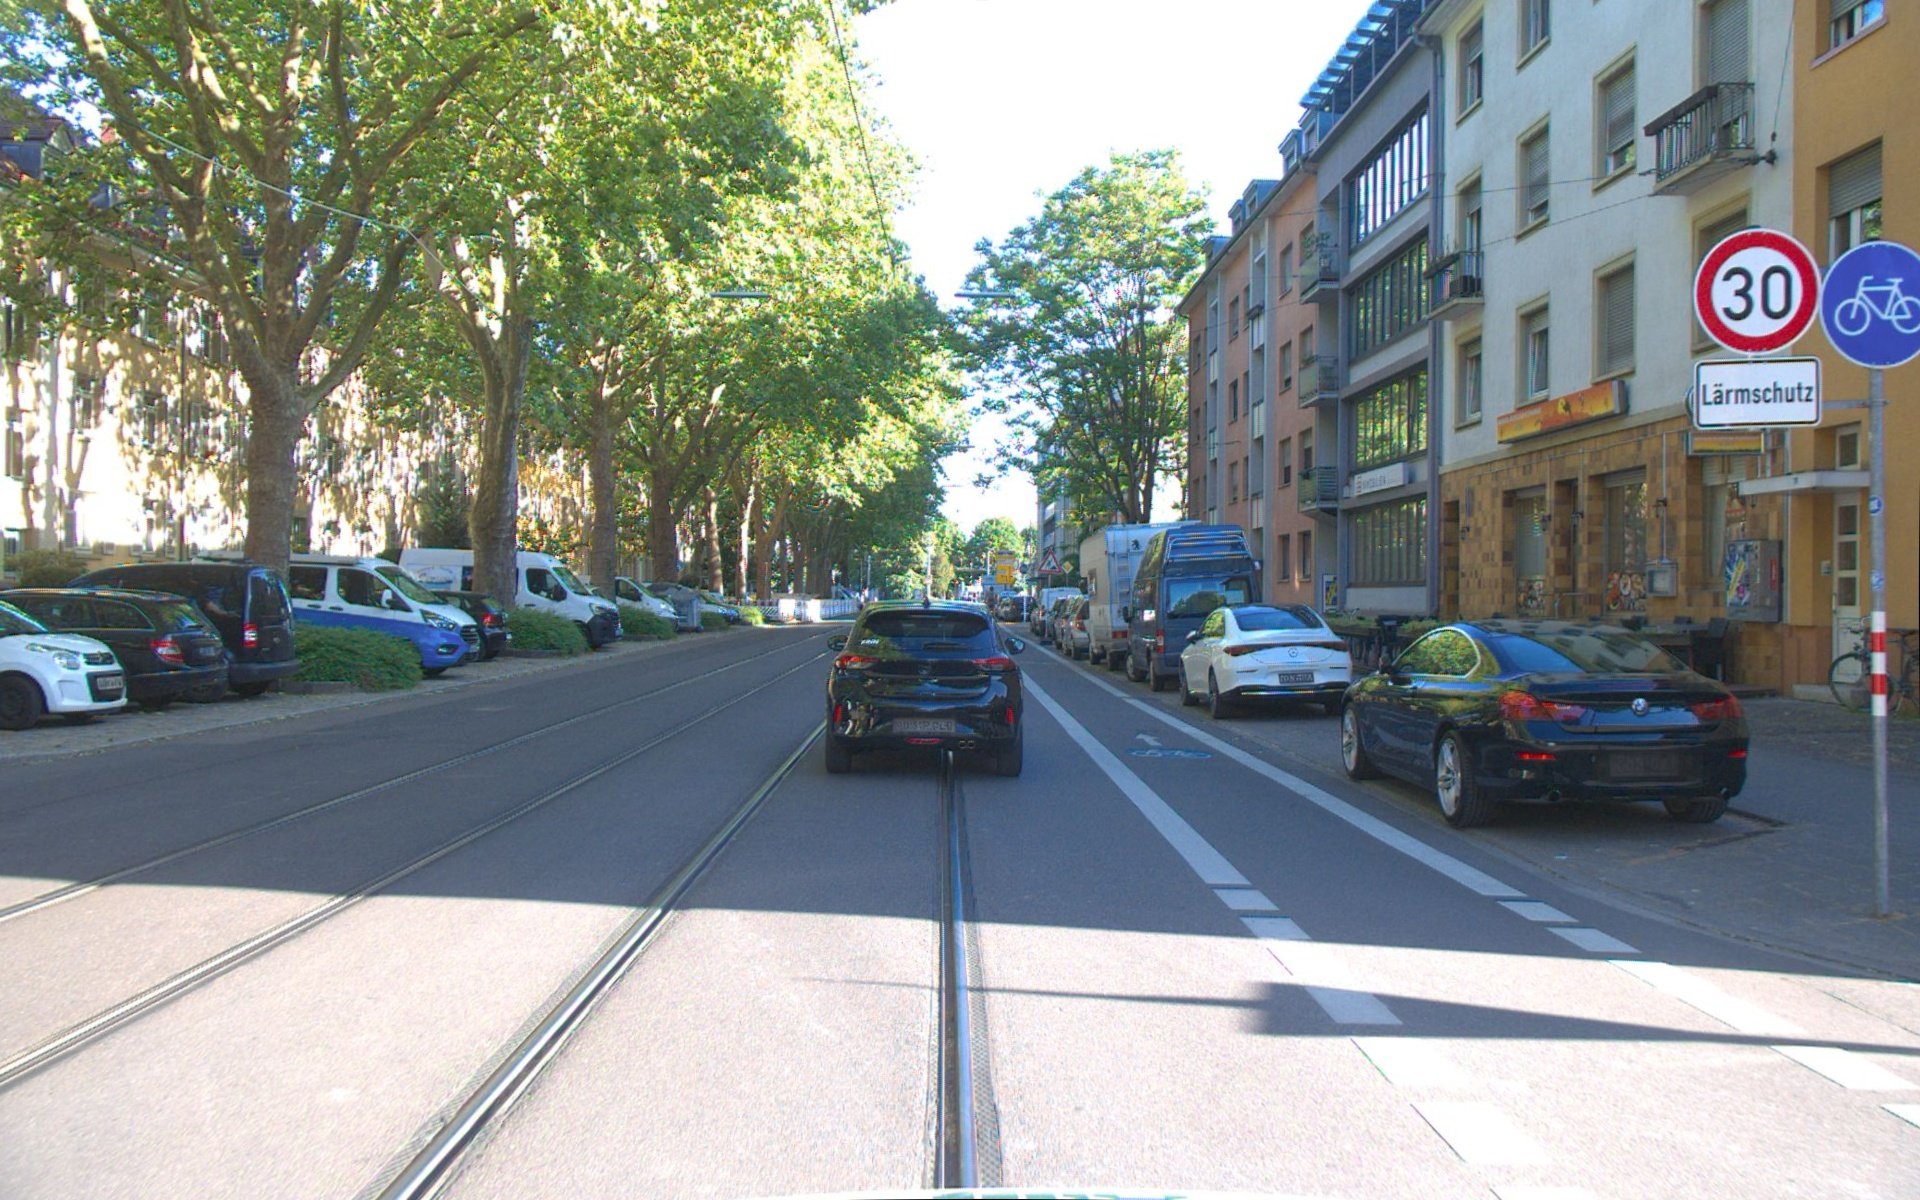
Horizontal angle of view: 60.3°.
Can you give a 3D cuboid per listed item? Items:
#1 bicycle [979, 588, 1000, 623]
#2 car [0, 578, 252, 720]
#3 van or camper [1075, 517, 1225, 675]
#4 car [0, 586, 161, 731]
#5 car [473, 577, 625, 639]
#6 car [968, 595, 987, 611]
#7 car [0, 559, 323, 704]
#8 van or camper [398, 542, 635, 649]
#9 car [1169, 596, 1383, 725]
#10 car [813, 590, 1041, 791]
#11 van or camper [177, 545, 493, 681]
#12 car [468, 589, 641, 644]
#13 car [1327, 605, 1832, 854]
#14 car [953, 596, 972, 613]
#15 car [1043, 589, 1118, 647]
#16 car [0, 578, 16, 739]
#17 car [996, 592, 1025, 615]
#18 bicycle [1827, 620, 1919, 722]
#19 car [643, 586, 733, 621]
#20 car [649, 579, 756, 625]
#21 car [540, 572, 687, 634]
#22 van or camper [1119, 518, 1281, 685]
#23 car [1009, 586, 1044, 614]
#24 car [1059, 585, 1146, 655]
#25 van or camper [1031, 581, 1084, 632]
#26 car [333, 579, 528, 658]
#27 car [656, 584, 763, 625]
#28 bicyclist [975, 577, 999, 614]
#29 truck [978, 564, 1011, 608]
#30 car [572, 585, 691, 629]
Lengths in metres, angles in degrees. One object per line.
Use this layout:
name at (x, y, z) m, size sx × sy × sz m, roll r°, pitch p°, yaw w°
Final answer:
bicycle at (1.345, 0.241, 76.982) m, size 0.897 × 1.588 × 3.405 m, roll 1°, pitch 0°, yaw 0°
car at (-10.887, 0.569, 20.311) m, size 3.611 × 1.652 × 1.797 m, roll 1°, pitch 0°, yaw -6°
van or camper at (4.066, -0.116, 36.570) m, size 2.412 × 3.117 × 6.267 m, roll -2°, pitch 0°, yaw -1°
car at (-10.992, 0.608, 18.165) m, size 3.612 × 1.511 × 1.699 m, roll 1°, pitch 0°, yaw -7°
car at (-11.481, 0.213, 46.374) m, size 3.768 × 1.692 × 1.862 m, roll 0°, pitch 0°, yaw 0°
car at (1.985, 0.309, 188.686) m, size 1.953 × 1.725 × 4.739 m, roll -2°, pitch 0°, yaw -1°
car at (-10.832, 0.406, 22.535) m, size 3.607 × 1.846 × 1.704 m, roll 1°, pitch 0°, yaw -1°
van or camper at (-11.160, -0.111, 41.921) m, size 5.278 × 2.560 × 2.445 m, roll 1°, pitch 0°, yaw 1°
car at (4.241, 0.741, 22.990) m, size 1.953 × 1.519 × 4.739 m, roll -2°, pitch 0°, yaw -1°
car at (-0.283, 0.692, 14.823) m, size 1.745 × 1.522 × 3.999 m, roll 1°, pitch 0°, yaw -1°
van or camper at (-10.835, 0.214, 28.970) m, size 4.725 × 2.228 × 2.117 m, roll 1°, pitch 0°, yaw -5°
car at (-10.801, 0.435, 44.277) m, size 4.177 × 1.423 × 1.753 m, roll 0°, pitch 0°, yaw 0°
car at (4.322, 0.801, 12.502) m, size 1.953 × 1.404 × 4.739 m, roll -2°, pitch 0°, yaw -1°
car at (0.232, 0.450, 180.826) m, size 1.953 × 1.725 × 4.739 m, roll -2°, pitch 0°, yaw -1°
car at (3.448, 0.494, 47.978) m, size 1.752 × 1.548 × 4.321 m, roll -2°, pitch 0°, yaw -1°
car at (-11.253, 0.554, 15.715) m, size 3.604 × 1.581 × 1.705 m, roll 1°, pitch 0°, yaw 5°
car at (3.212, 0.211, 106.846) m, size 1.625 × 1.424 × 4.739 m, roll -2°, pitch 0°, yaw -1°
bicycle at (10.153, 0.749, 18.007) m, size 0.417 × 1.014 × 1.858 m, roll 1°, pitch 0°, yaw -1°
car at (-12.244, 0.155, 74.625) m, size 3.768 × 1.524 × 1.862 m, roll 0°, pitch 0°, yaw 0°
car at (-10.573, 0.068, 68.072) m, size 4.112 × 1.788 × 1.740 m, roll 1°, pitch 0°, yaw 0°
car at (-11.451, 0.087, 54.916) m, size 4.568 × 1.979 × 1.959 m, roll 1°, pitch 0°, yaw -7°
van or camper at (4.238, 0.001, 30.037) m, size 2.089 × 2.709 × 4.979 m, roll -2°, pitch 0°, yaw -1°
car at (3.745, -0.007, 93.495) m, size 1.698 × 1.487 × 3.915 m, roll -2°, pitch 0°, yaw -1°
car at (3.624, 0.476, 42.634) m, size 1.756 × 1.656 × 4.276 m, roll -2°, pitch 0°, yaw -1°
van or camper at (3.759, 0.206, 64.211) m, size 1.719 × 1.897 × 4.830 m, roll 0°, pitch 0°, yaw -1°
car at (-11.269, 0.375, 35.314) m, size 3.605 × 1.592 × 1.613 m, roll 1°, pitch 0°, yaw 2°
car at (-10.659, 0.183, 70.459) m, size 4.144 × 1.717 × 1.934 m, roll 0°, pitch 0°, yaw 6°
bicyclist at (1.261, -0.221, 77.153) m, size 1.067 × 1.676 × 1.400 m, roll 1°, pitch 0°, yaw 0°
truck at (2.796, -1.095, 135.454) m, size 2.486 × 3.396 × 7.194 m, roll -2°, pitch 0°, yaw 0°
car at (-11.482, 0.230, 57.981) m, size 3.768 × 1.524 × 1.862 m, roll 0°, pitch 0°, yaw 0°
